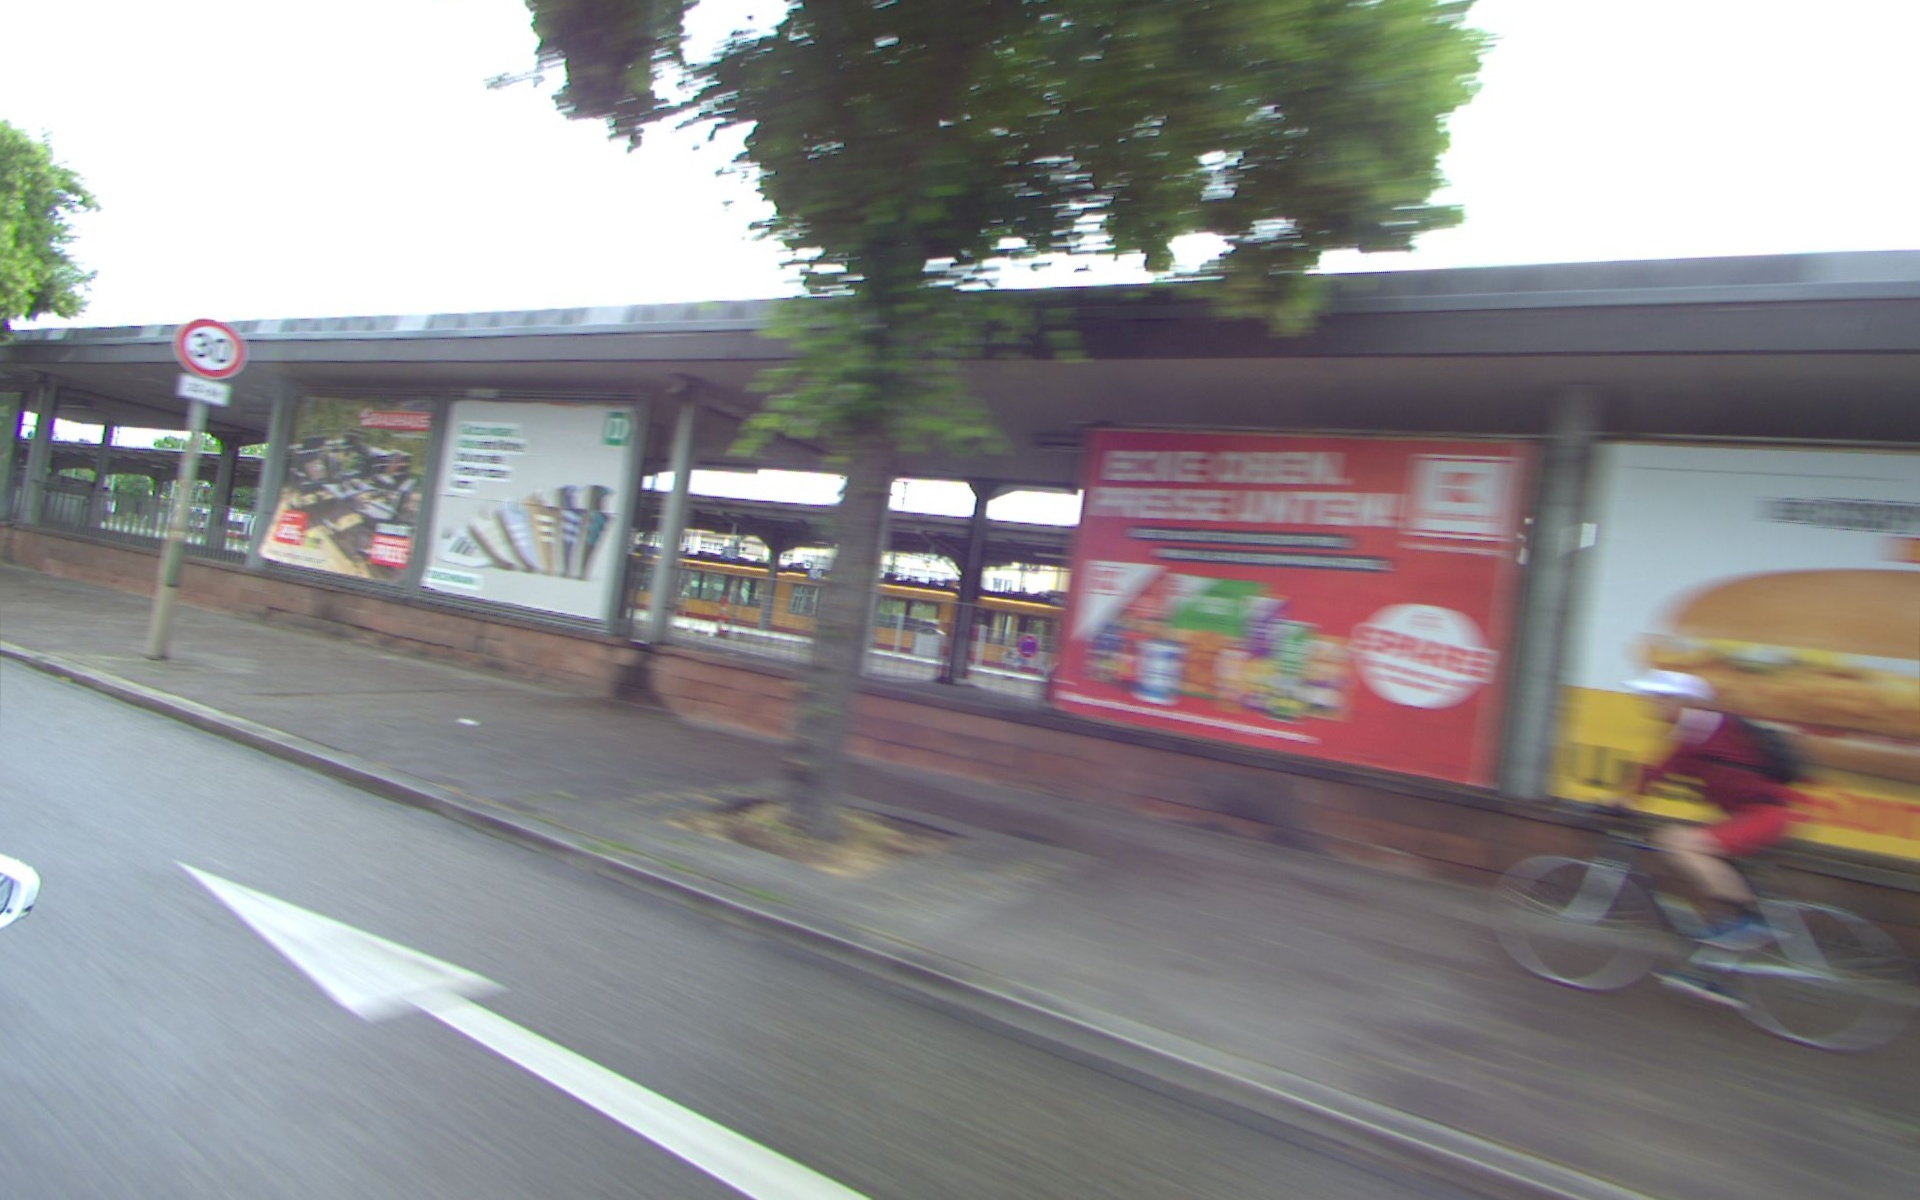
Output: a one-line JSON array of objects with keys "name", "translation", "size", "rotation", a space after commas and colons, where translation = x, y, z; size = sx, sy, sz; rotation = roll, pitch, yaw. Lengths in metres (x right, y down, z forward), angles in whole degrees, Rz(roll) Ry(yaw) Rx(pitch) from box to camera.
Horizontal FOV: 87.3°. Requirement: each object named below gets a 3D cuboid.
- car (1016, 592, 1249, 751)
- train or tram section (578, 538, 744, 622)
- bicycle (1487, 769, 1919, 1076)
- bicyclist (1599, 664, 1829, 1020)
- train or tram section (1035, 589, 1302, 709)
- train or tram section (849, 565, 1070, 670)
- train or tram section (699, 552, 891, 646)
[{"name": "car", "translation": [2.354, 0.918, 12.923], "size": [1.717, 1.561, 3.690], "rotation": [7, -1, 28]}, {"name": "train or tram section", "translation": [-15.457, -1.062, 51.726], "size": [8.613, 3.322, 2.659], "rotation": [7, 0, 29]}, {"name": "bicycle", "translation": [3.629, 1.529, 5.042], "size": [1.648, 1.029, 0.447], "rotation": [7, 1, 29]}, {"name": "bicyclist", "translation": [3.717, 1.142, 5.020], "size": [0.682, 1.557, 0.534], "rotation": [7, 1, 28]}, {"name": "train or tram section", "translation": [7.821, 1.779, 38.474], "size": [9.358, 3.322, 2.659], "rotation": [7, 0, 29]}, {"name": "train or tram section", "translation": [-0.141, 0.694, 42.980], "size": [8.978, 3.322, 2.659], "rotation": [7, 0, 29]}, {"name": "train or tram section", "translation": [-7.870, -0.088, 47.361], "size": [8.978, 3.322, 2.659], "rotation": [7, 0, 29]}]
